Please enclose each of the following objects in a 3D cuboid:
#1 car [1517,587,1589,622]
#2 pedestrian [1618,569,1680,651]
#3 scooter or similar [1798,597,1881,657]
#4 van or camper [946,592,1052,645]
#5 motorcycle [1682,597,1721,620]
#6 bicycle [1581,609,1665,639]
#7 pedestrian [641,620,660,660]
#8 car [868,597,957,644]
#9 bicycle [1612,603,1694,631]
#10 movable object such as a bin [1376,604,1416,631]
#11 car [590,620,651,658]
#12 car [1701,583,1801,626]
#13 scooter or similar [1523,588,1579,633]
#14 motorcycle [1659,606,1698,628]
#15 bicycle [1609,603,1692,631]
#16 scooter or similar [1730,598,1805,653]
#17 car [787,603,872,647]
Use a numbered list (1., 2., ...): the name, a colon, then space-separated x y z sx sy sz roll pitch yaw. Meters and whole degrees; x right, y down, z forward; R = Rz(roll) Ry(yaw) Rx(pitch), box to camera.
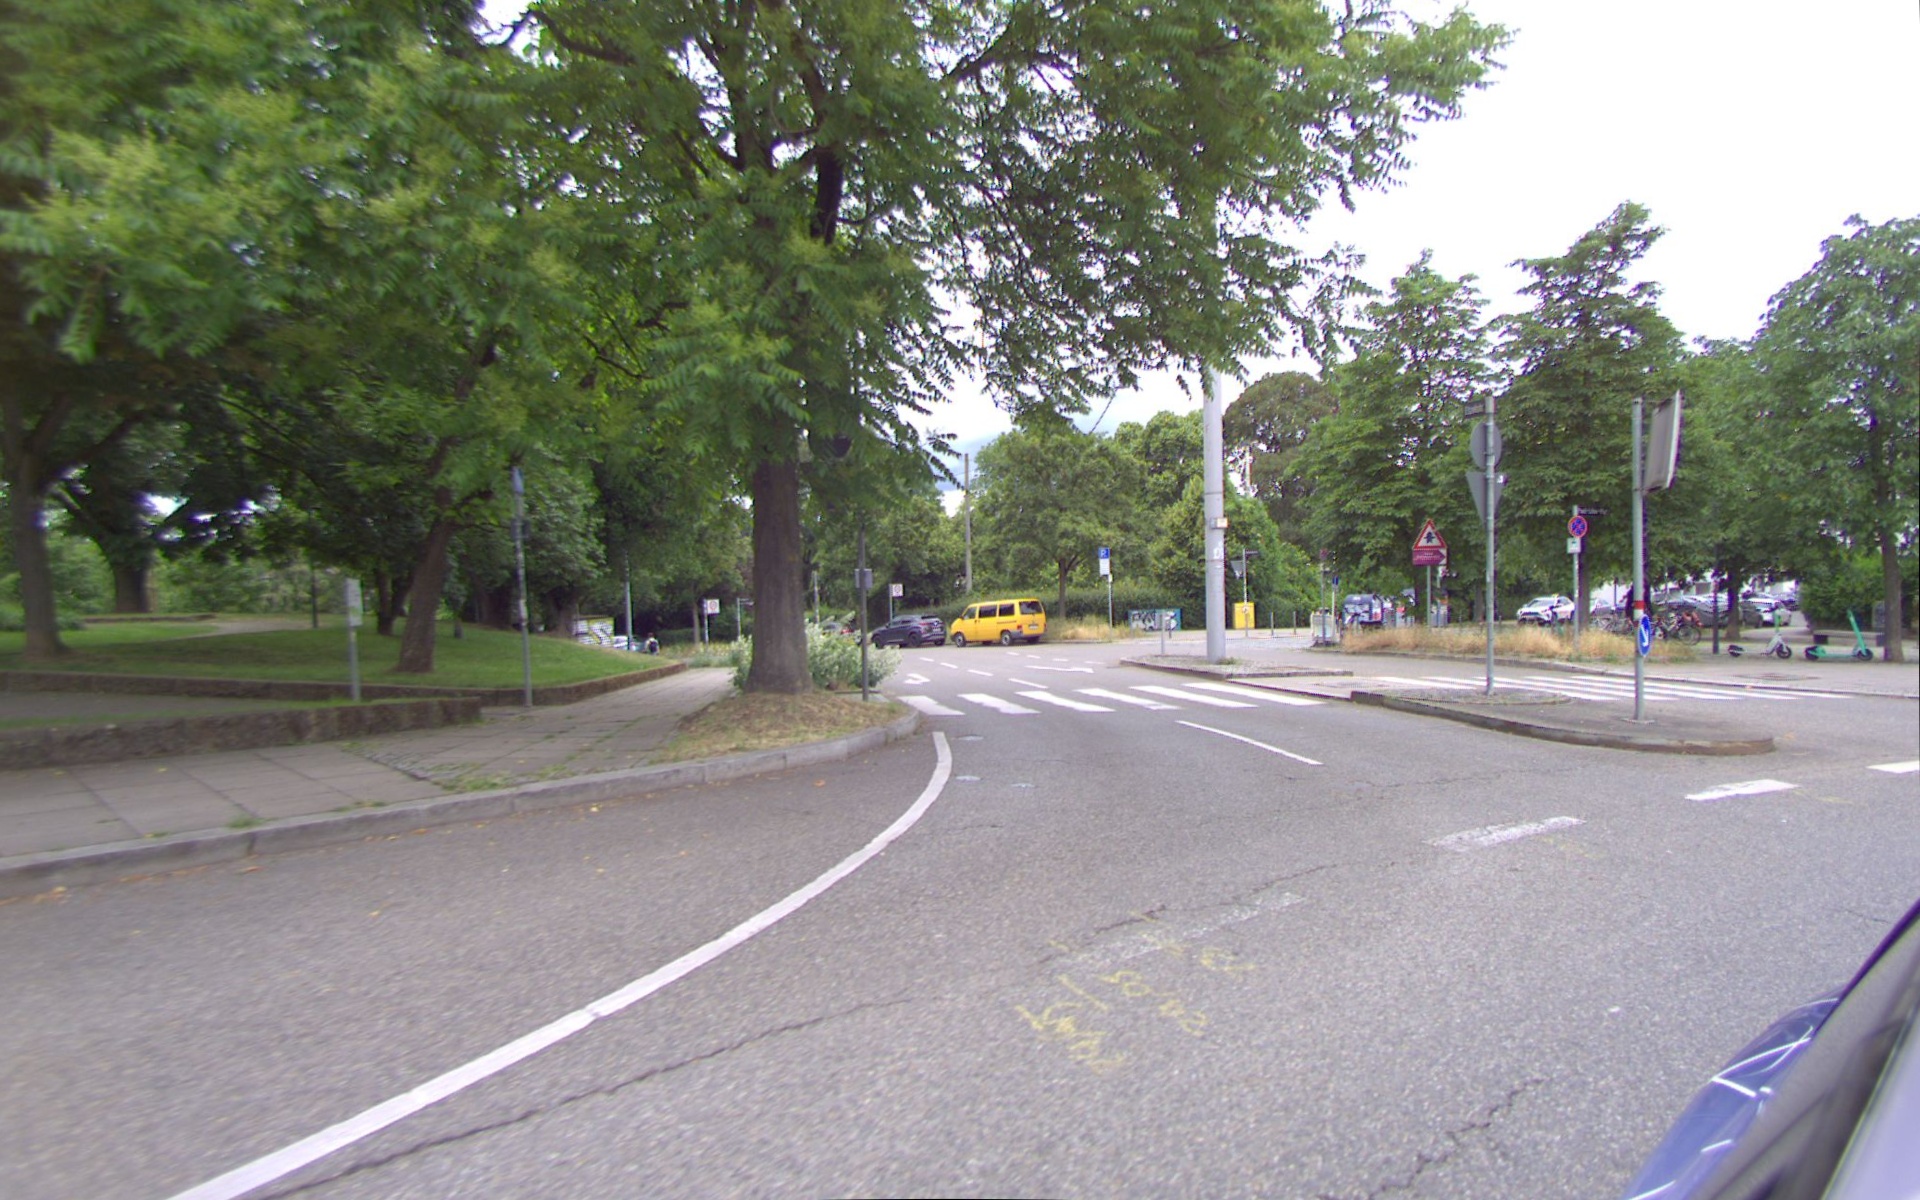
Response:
1. car: 33.724 0.228 57.481 4.629 1.927 1.999 0 1 -38
2. pedestrian: 16.408 0.231 24.124 0.843 1.910 0.963 1 0 8
3. scooter or similar: 18.787 0.552 21.639 0.491 1.242 1.249 0 -1 -31
4. van or camper: 1.613 0.824 43.250 1.858 2.002 4.460 -2 -1 -42
5. motorcycle: 35.291 0.402 48.151 2.014 1.046 0.756 0 1 -30
6. bicycle: 28.489 1.025 43.547 2.902 1.160 0.922 1 1 5
7. pedestrian: -13.106 1.681 42.875 0.656 1.669 0.670 0 0 -26
8. car: -2.263 0.920 47.470 1.967 2.039 3.989 0 1 -45
9. bicycle: 31.134 0.739 45.489 2.902 1.160 0.922 1 1 5
10. movable object such as a bin: 19.862 0.800 46.141 1.289 1.180 1.062 1 1 -2
11. car: -20.643 2.346 61.397 1.967 2.039 3.990 0 1 -44
12. car: 39.480 0.184 50.565 3.774 2.039 1.969 2 1 43
13. scooter or similar: 16.980 0.281 29.098 1.300 1.264 0.462 1 0 13
14. motorcycle: 34.709 0.805 48.915 2.014 1.046 0.756 0 1 -30
15. bicycle: 30.403 0.736 44.585 2.902 1.160 0.922 1 1 5
16. scooter or similar: 18.612 0.567 23.345 0.491 1.242 1.249 0 -1 -31
17. car: -6.603 1.226 51.197 3.972 2.039 1.976 2 1 34
